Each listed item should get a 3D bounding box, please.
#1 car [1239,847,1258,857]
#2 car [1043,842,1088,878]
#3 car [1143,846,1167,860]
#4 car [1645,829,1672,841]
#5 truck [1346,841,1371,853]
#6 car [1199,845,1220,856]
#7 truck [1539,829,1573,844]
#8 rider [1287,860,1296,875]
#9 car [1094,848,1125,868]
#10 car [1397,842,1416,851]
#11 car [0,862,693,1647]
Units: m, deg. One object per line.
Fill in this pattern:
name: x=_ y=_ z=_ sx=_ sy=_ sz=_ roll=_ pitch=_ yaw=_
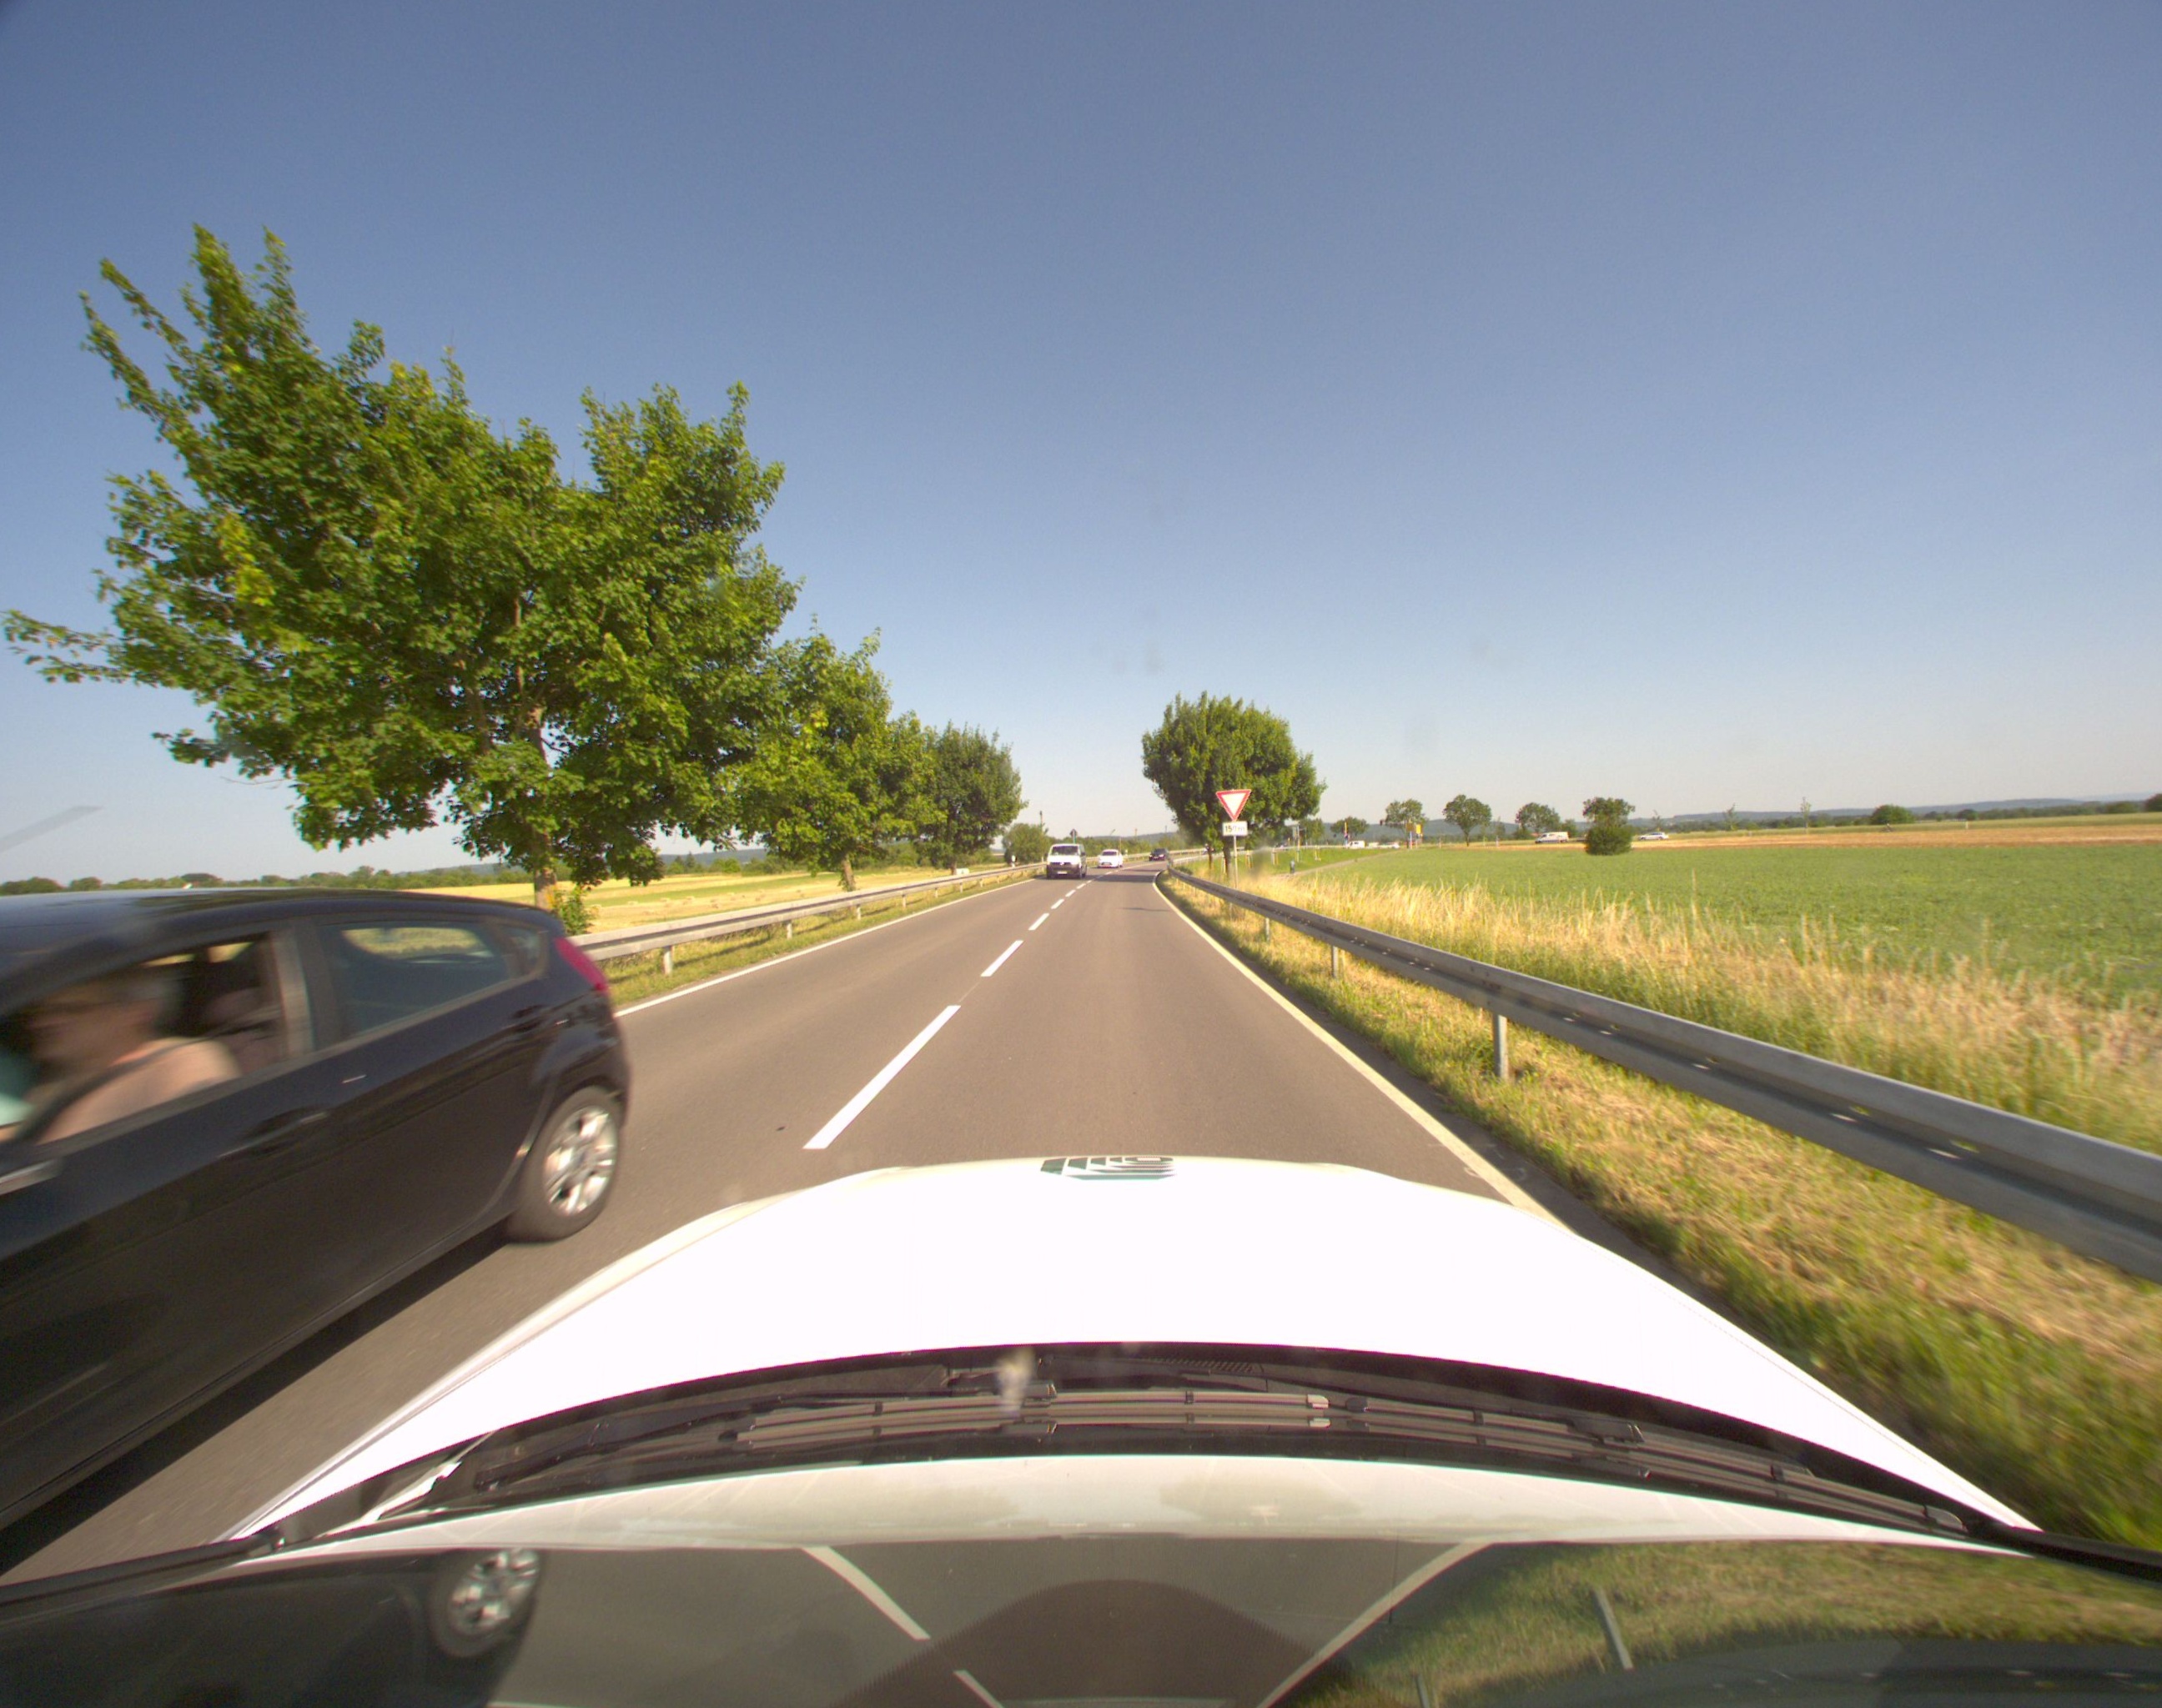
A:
car: x=28.830 y=-0.339 z=139.971 sx=1.975 sy=1.532 sz=4.619 roll=-1 pitch=0 yaw=27
car: x=-0.799 y=0.297 z=45.476 sx=1.984 sy=1.884 sz=4.598 roll=-1 pitch=0 yaw=5
car: x=8.419 y=-0.093 z=91.880 sx=1.979 sy=1.532 sz=4.609 roll=-1 pitch=0 yaw=14
car: x=107.634 y=-3.551 z=151.751 sx=3.948 sy=2.014 sz=2.013 roll=-3 pitch=-1 yaw=39
truck: x=62.809 y=-1.530 z=184.366 sx=5.023 sy=2.529 sz=2.004 roll=-1 pitch=-1 yaw=7
car: x=18.947 y=-0.511 z=120.026 sx=1.976 sy=1.532 sz=4.616 roll=-1 pitch=0 yaw=22
truck: x=94.781 y=-3.409 z=162.599 sx=5.526 sy=2.695 sz=3.315 roll=-1 pitch=-1 yaw=34
rider: x=20.848 y=1.328 z=80.616 sx=0.603 sy=1.527 sz=1.836 roll=-1 pitch=-1 yaw=24
car: x=2.341 y=0.277 z=65.921 sx=1.891 sy=1.532 sz=4.604 roll=-1 pitch=0 yaw=9
car: x=72.614 y=-1.615 z=181.729 sx=3.954 sy=2.014 sz=2.010 roll=-1 pitch=-1 yaw=19
car: x=-2.874 y=0.794 z=2.276 sx=1.638 sy=1.471 sz=3.808 roll=-1 pitch=0 yaw=2
